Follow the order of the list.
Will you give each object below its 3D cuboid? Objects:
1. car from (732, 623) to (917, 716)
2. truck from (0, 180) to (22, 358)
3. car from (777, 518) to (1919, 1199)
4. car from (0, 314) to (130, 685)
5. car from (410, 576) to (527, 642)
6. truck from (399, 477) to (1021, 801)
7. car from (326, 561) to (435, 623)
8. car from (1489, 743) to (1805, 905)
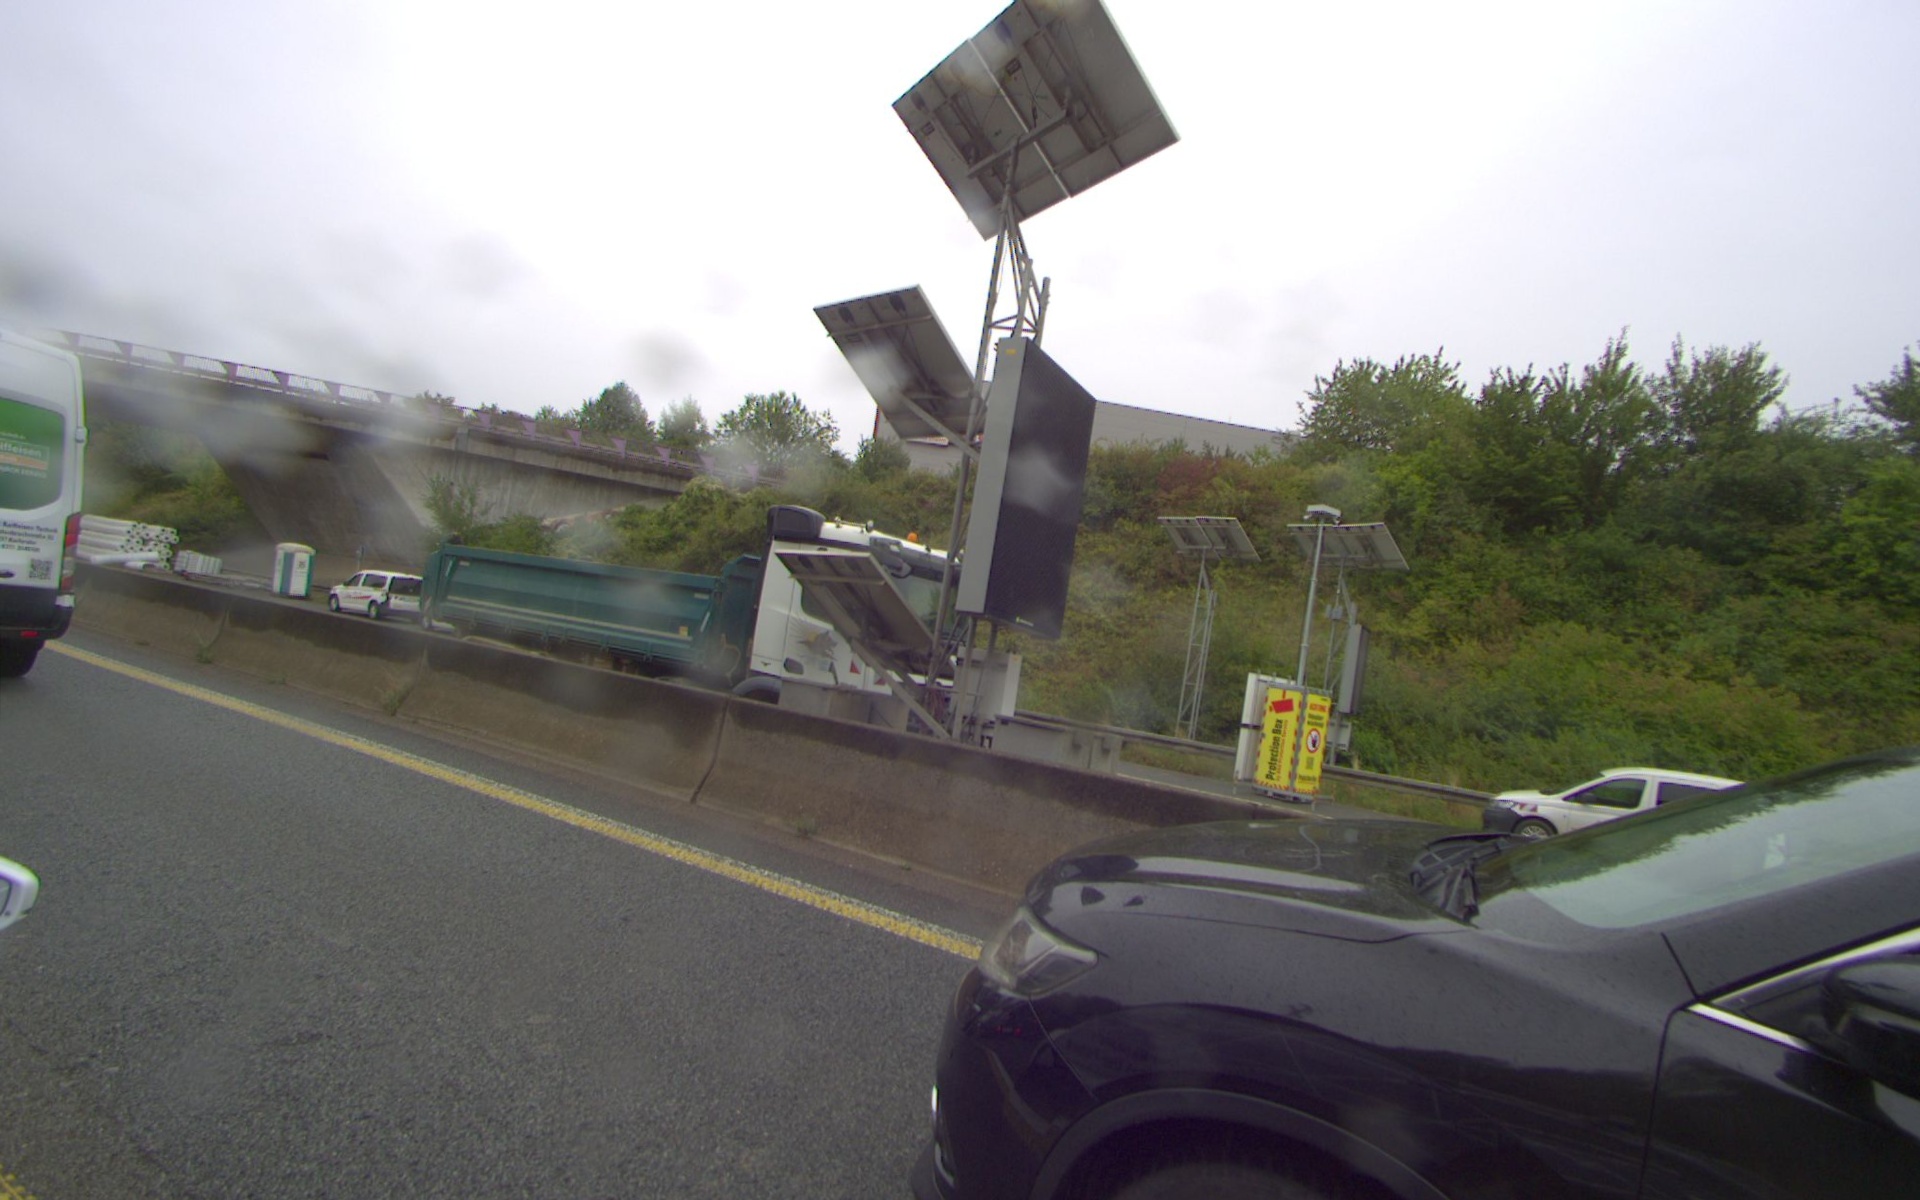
[{"bbox_3d":[-3.699,1.860,27.112,4.651,1.850,1.945,6,-2,34],"label":"car"},{"bbox_3d":[-23.824,-4.421,18.628,20.040,5.739,3.986,6,-1,32],"label":"truck"},{"bbox_3d":[2.117,0.983,1.633,4.563,1.694,1.894,6,-2,31],"label":"car"},{"bbox_3d":[-9.860,-1.047,8.701,6.017,2.707,2.148,6,-1,32],"label":"car"},{"bbox_3d":[-17.127,0.311,35.016,4.058,1.765,1.731,6,-2,34],"label":"car"},{"bbox_3d":[-3.853,0.238,13.957,8.967,3.168,2.525,6,-1,32],"label":"truck"},{"bbox_3d":[-22.074,-0.308,38.295,4.090,1.830,1.850,6,-2,34],"label":"car"},{"bbox_3d":[11.698,3.750,17.503,4.197,1.778,1.732,6,-2,31],"label":"car"}]
